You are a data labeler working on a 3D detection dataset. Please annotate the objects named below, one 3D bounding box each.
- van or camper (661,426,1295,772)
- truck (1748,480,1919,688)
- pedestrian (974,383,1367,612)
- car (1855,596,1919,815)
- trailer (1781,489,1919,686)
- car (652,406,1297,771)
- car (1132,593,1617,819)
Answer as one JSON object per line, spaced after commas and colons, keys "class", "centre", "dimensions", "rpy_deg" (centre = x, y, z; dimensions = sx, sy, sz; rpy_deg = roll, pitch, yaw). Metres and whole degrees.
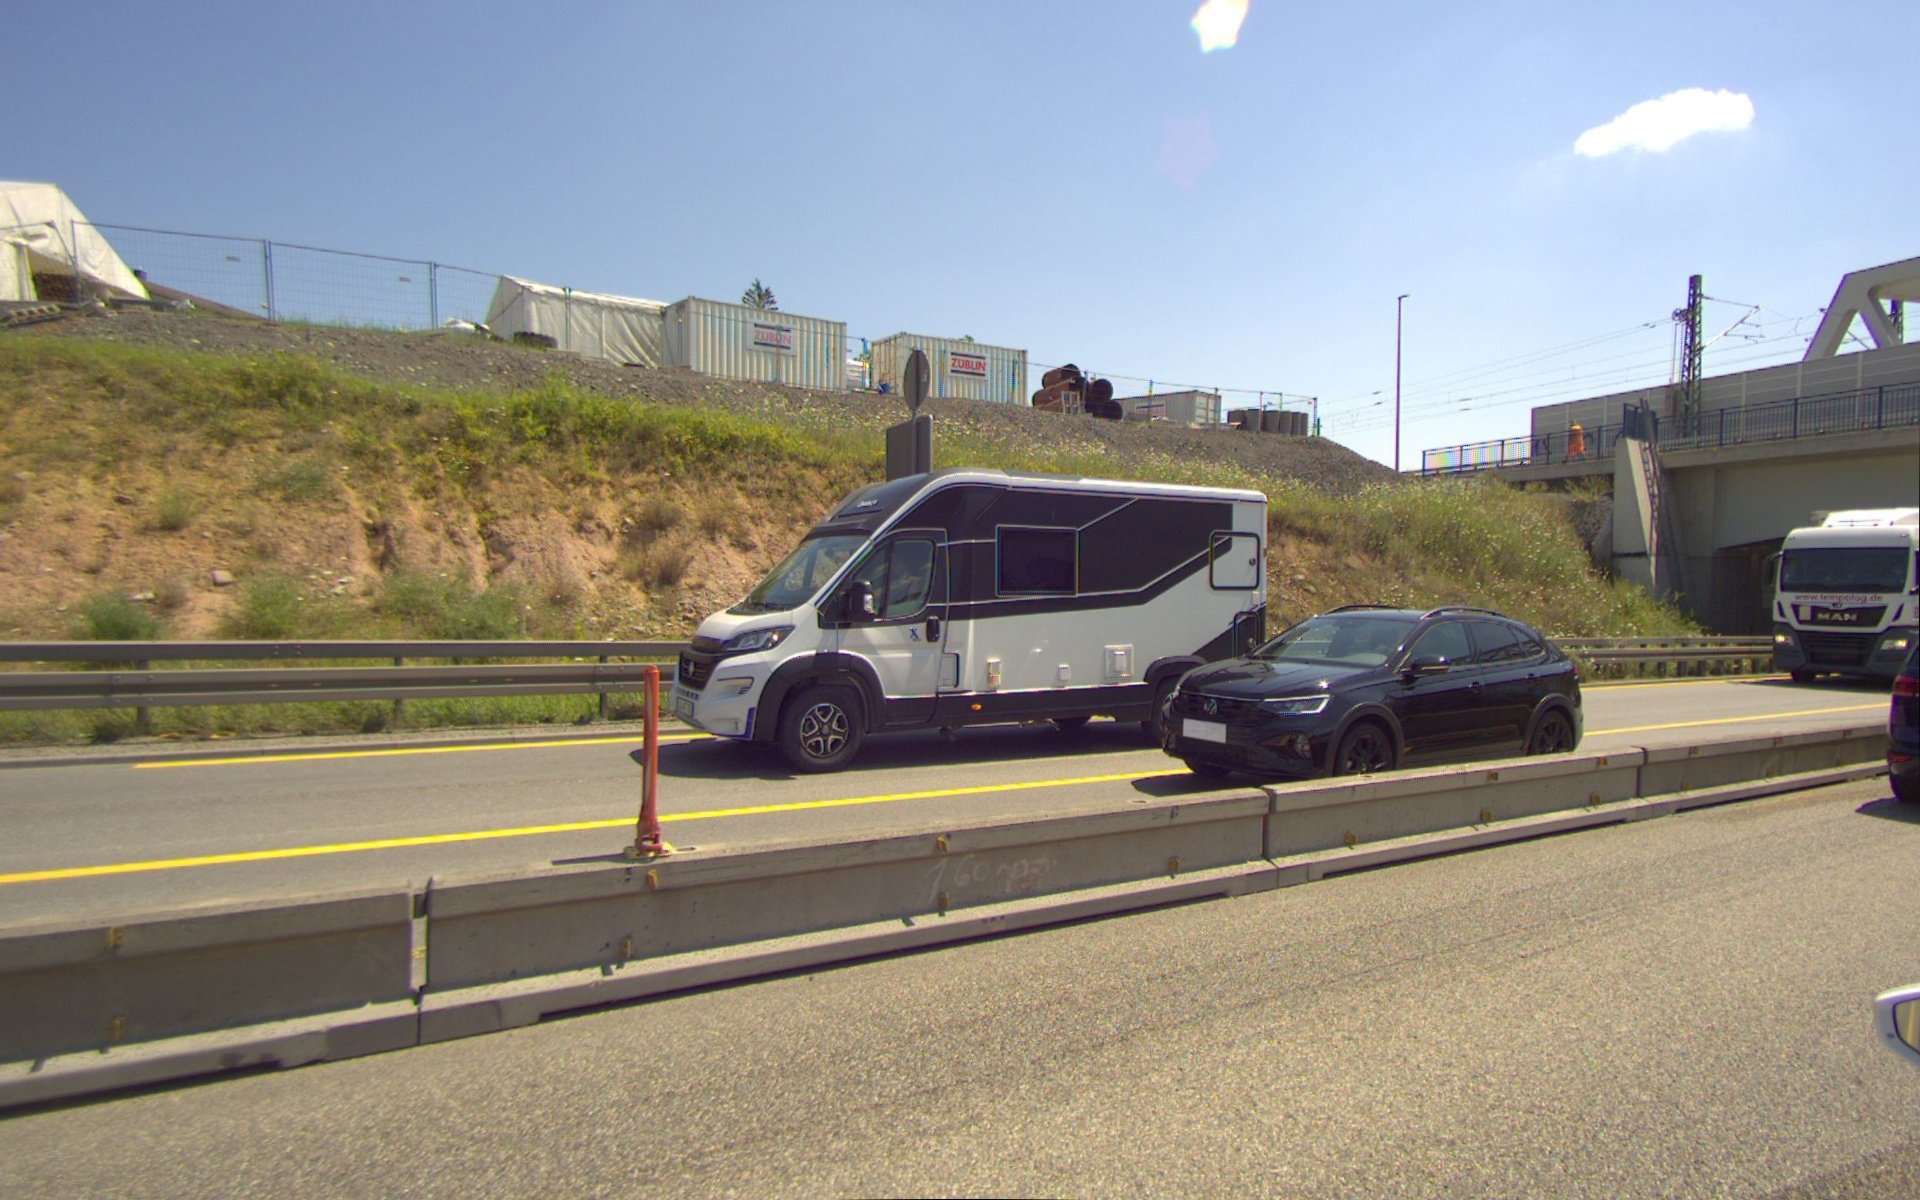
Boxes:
{"class": "van or camper", "centre": [0.381, 0.043, 10.459], "dimensions": [6.377, 2.741, 2.114], "rpy_deg": [1, 1, -29]}
{"class": "truck", "centre": [20.302, -0.293, 22.588], "dimensions": [4.029, 4.205, 2.782], "rpy_deg": [2, 0, -32]}
{"class": "pedestrian", "centre": [2.374, -0.959, 11.219], "dimensions": [3.953, 2.040, 1.984], "rpy_deg": [2, 0, -30]}
{"class": "car", "centre": [9.415, 0.856, 8.280], "dimensions": [4.337, 1.657, 1.726], "rpy_deg": [1, 0, -30]}
{"class": "trailer", "centre": [23.597, -0.170, 24.666], "dimensions": [8.153, 4.229, 2.797], "rpy_deg": [2, 0, -32]}
{"class": "car", "centre": [0.371, -0.008, 10.506], "dimensions": [6.483, 2.858, 2.263], "rpy_deg": [2, 0, -31]}
{"class": "car", "centre": [3.666, 0.747, 8.734], "dimensions": [4.137, 1.538, 1.745], "rpy_deg": [1, 1, -30]}
